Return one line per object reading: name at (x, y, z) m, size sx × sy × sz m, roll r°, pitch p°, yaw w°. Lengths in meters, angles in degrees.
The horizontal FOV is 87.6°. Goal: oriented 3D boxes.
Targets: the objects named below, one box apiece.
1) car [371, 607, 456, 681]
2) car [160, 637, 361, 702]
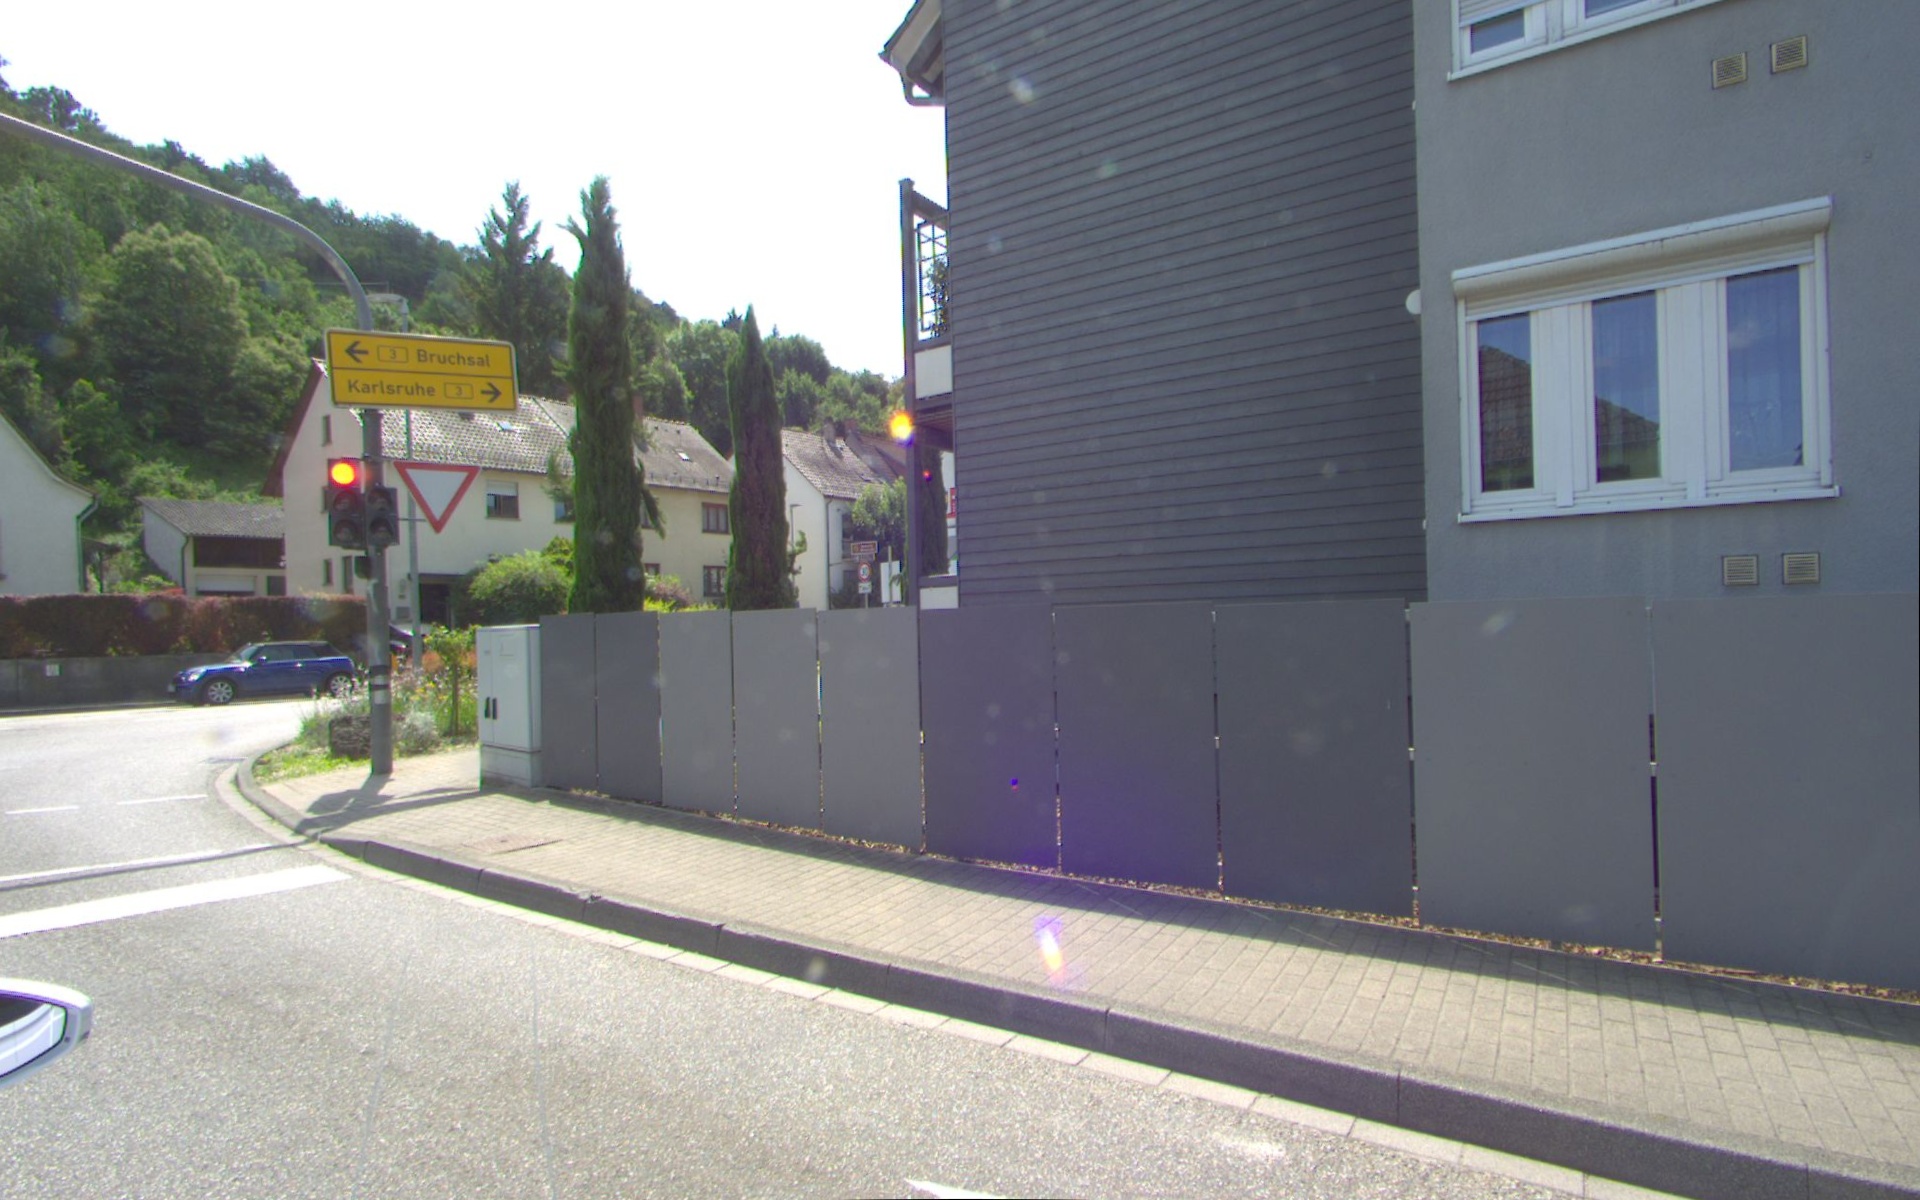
car at (-17.283, 1.314, 31.572) m, size 1.780 × 1.410 × 3.650 m, roll 0°, pitch 12°, yaw -38°
car at (-16.467, 1.625, 23.707) m, size 1.624 × 1.379 × 3.597 m, roll -5°, pitch -4°, yaw 36°
